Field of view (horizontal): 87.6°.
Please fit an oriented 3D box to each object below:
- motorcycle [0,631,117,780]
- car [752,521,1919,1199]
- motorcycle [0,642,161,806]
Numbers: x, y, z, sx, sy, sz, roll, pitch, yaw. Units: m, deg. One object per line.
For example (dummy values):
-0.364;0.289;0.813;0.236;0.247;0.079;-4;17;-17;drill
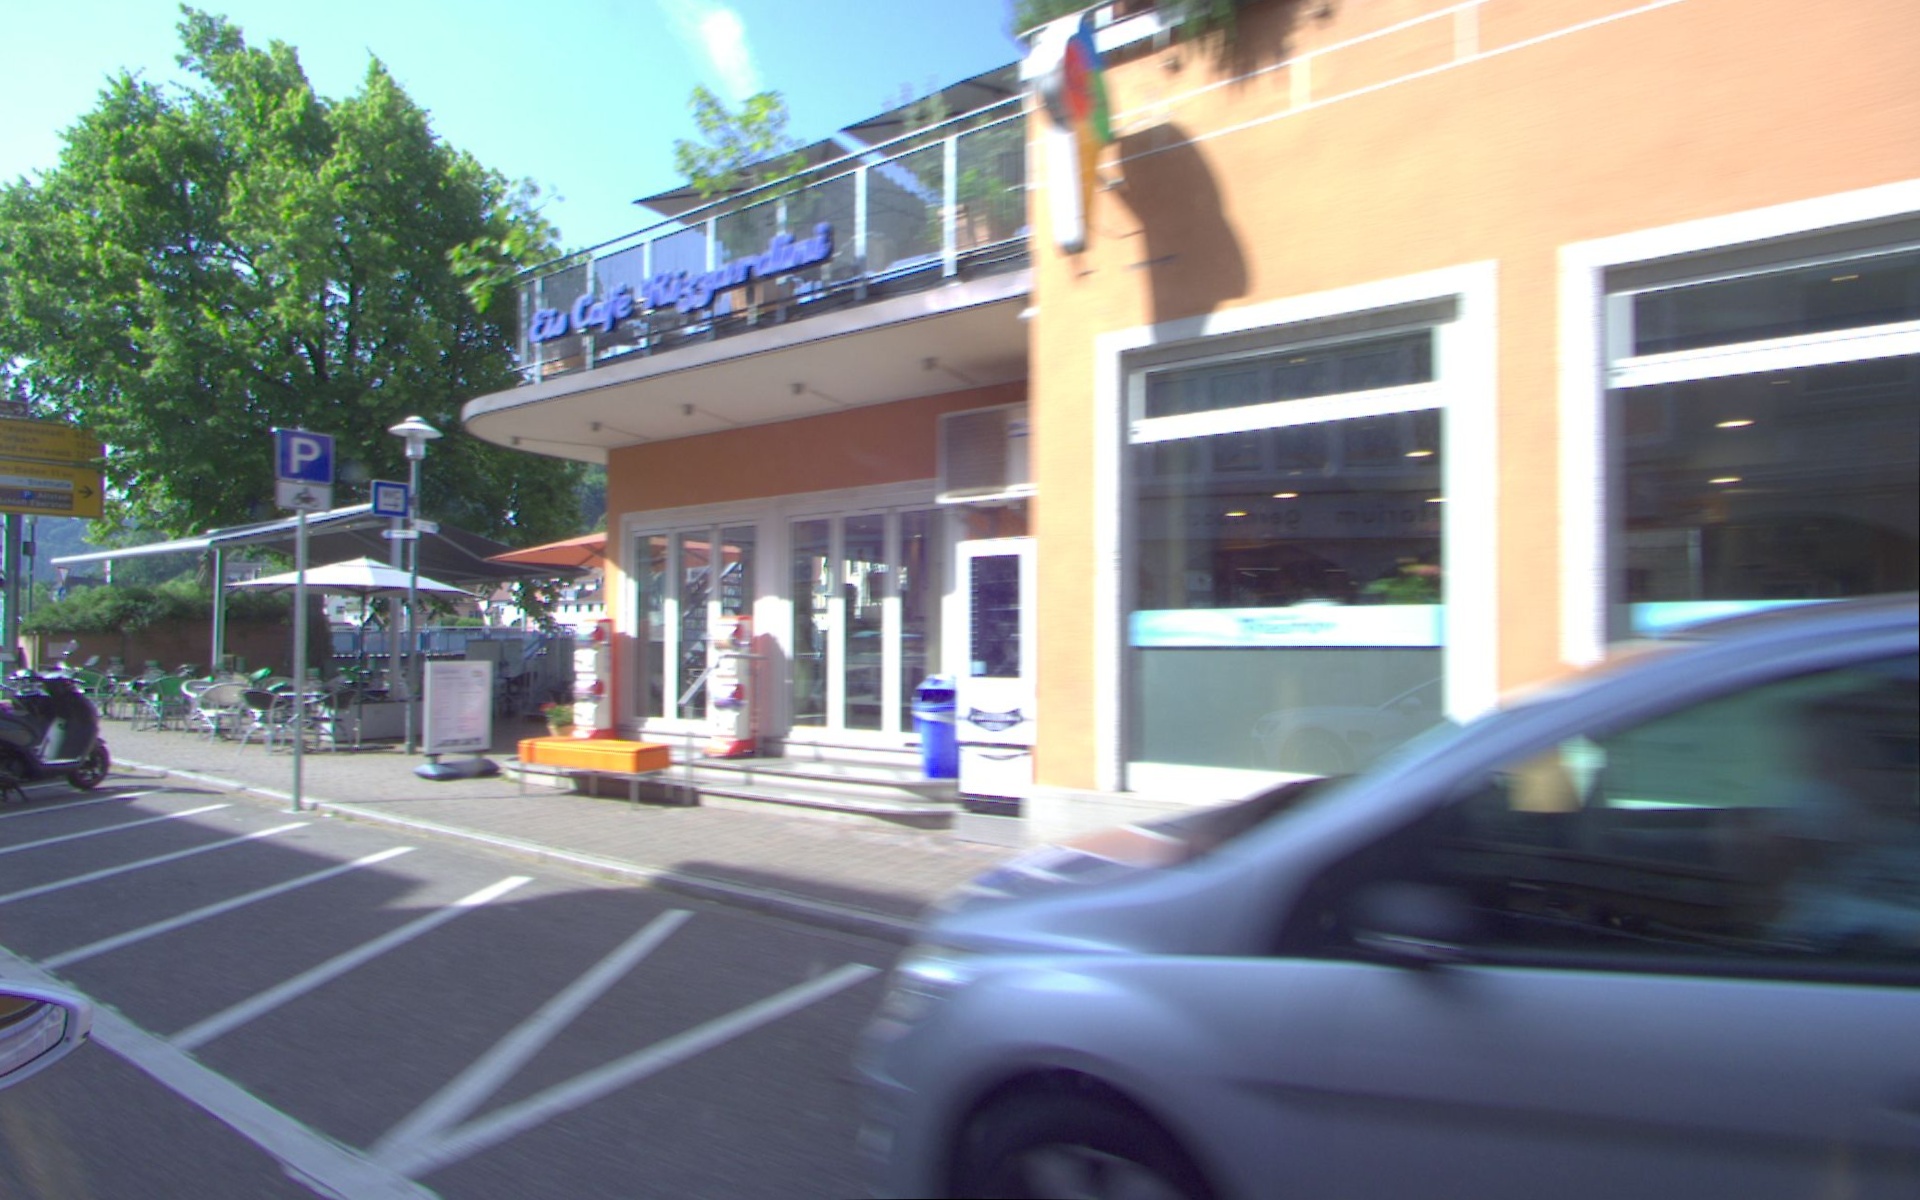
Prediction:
-9.351;0.988;9.617;0.899;1.375;1.901;0;-1;-1;motorcycle
1.897;0.746;1.839;4.528;1.617;1.743;0;-2;32;car
-8.216;1.026;8.760;0.911;1.286;2.091;1;-1;-6;motorcycle
